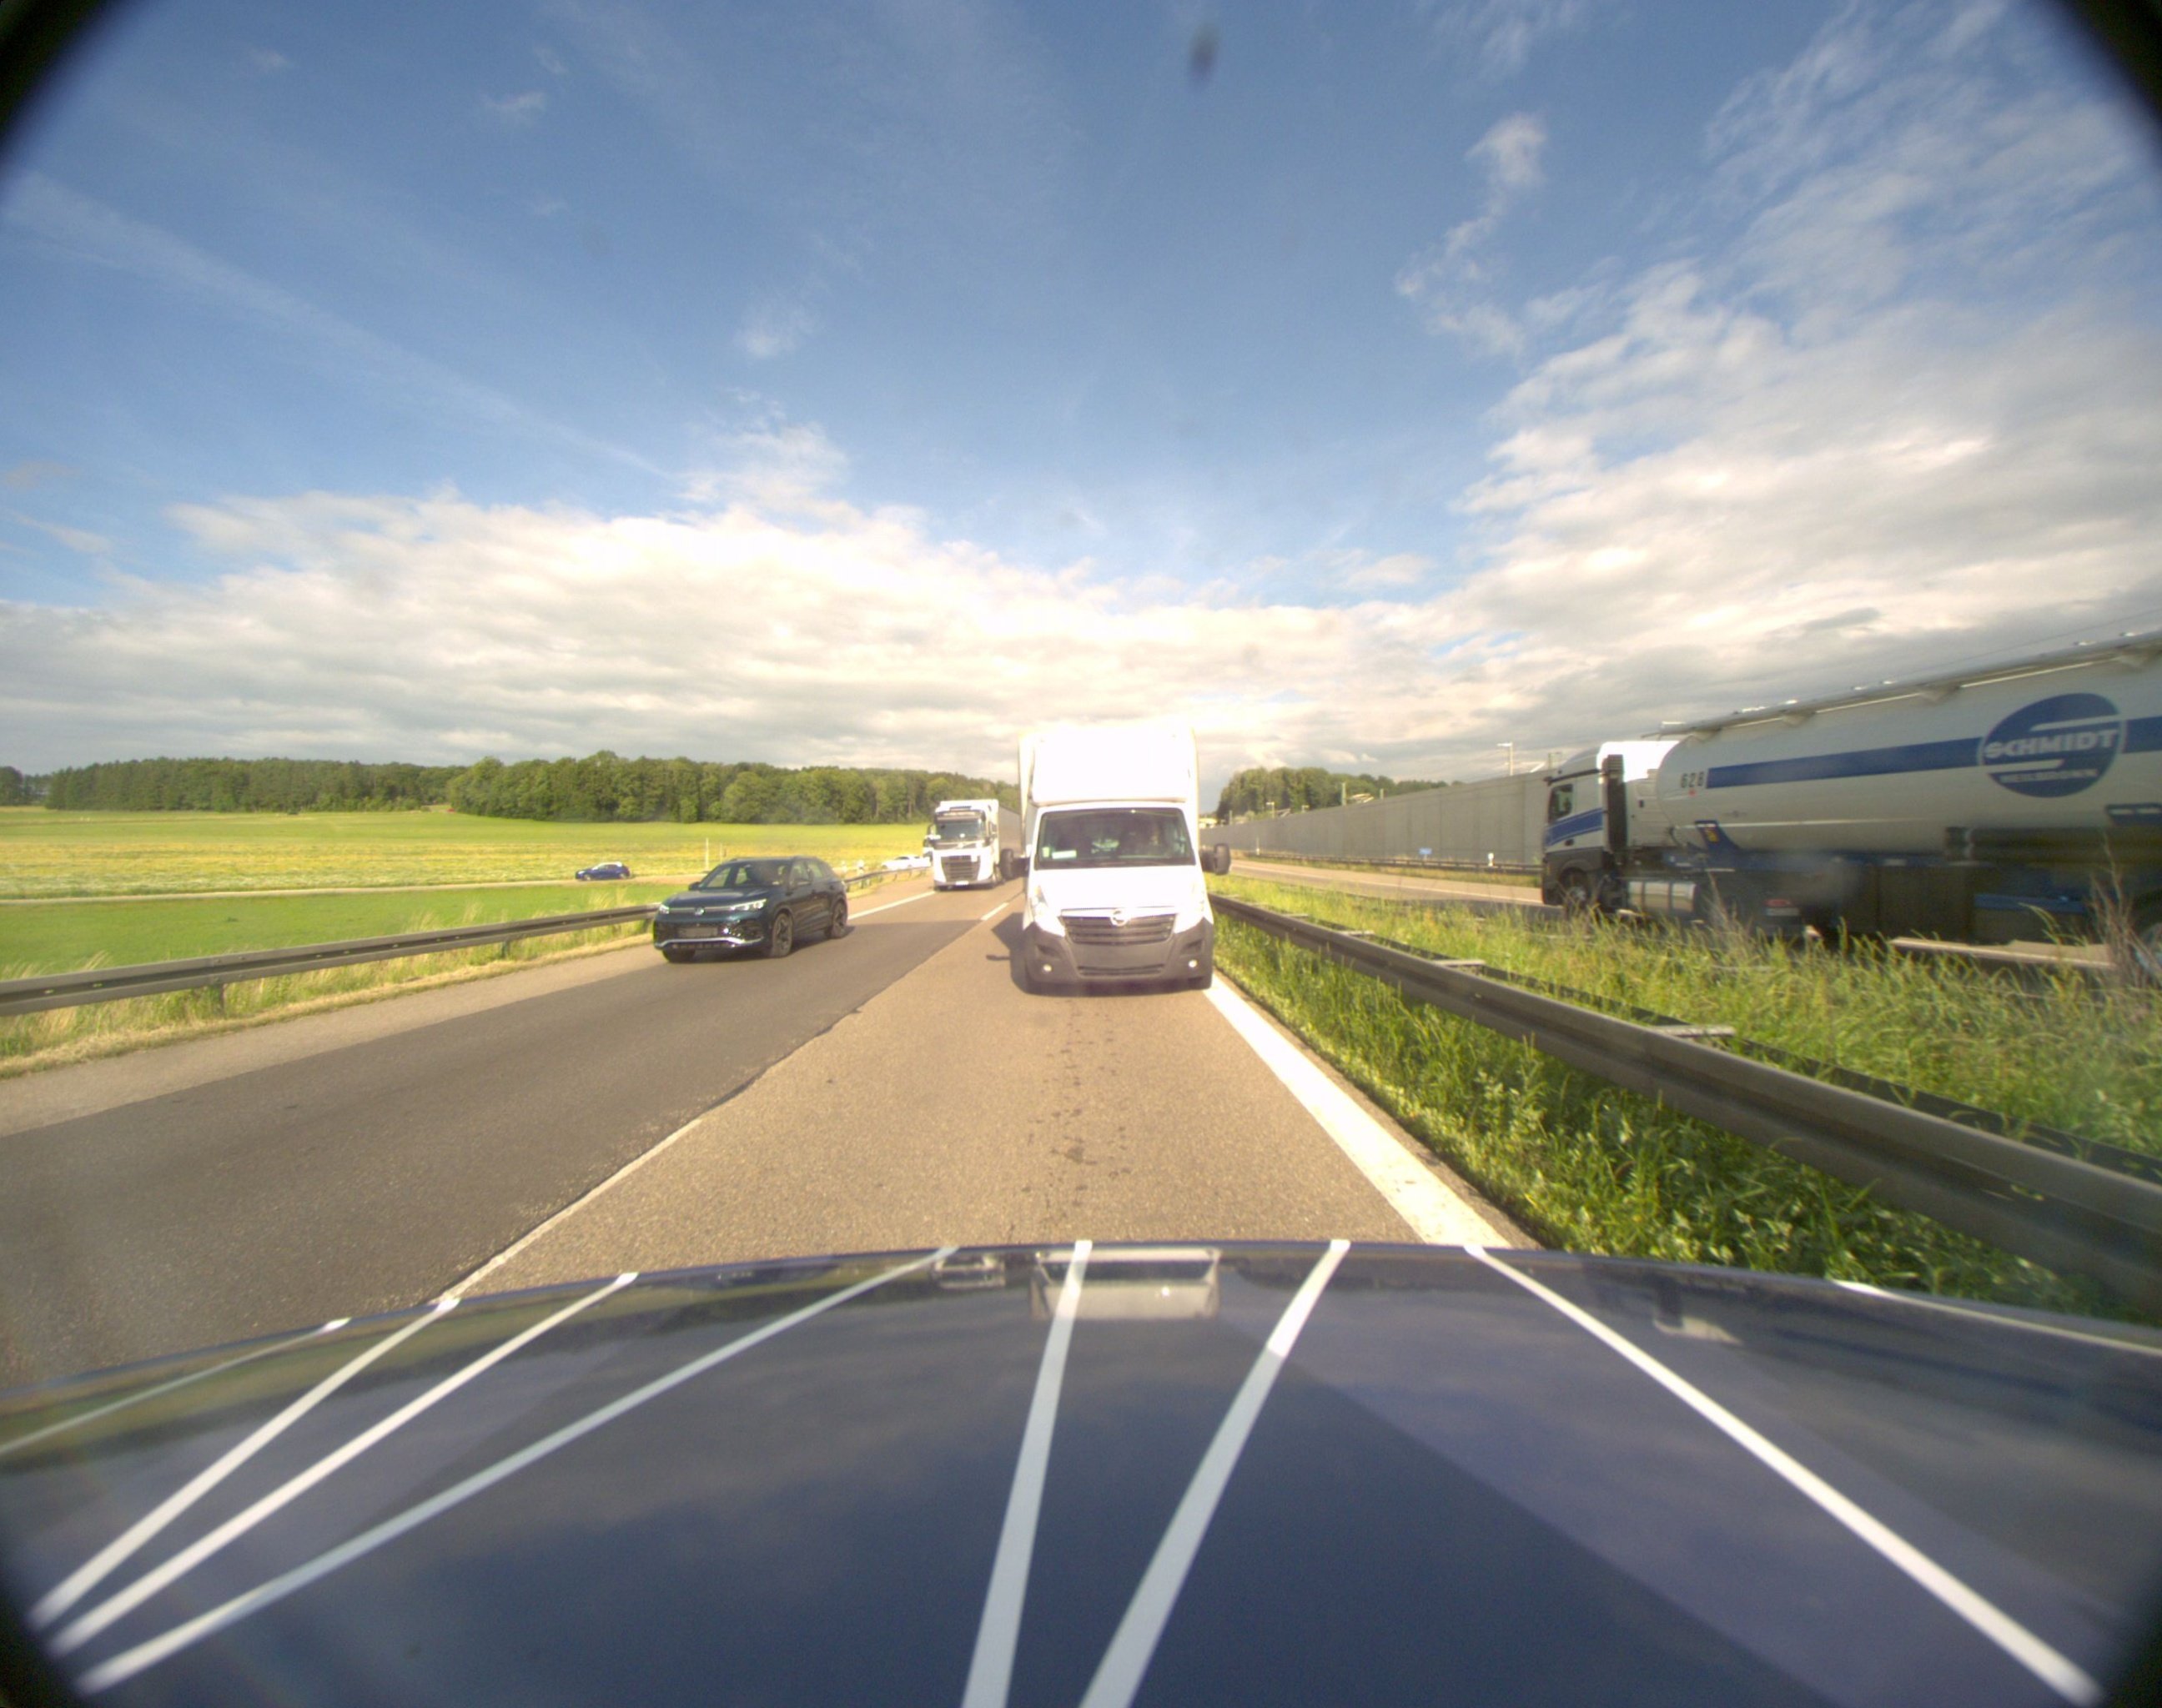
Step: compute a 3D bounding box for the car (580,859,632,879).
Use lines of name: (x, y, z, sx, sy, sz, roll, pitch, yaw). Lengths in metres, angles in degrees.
car: (-40.201, 1.262, 64.350, 3.567, 1.521, 1.720, -3, 1, -38)

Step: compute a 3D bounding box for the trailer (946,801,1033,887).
trailer: (-4.697, -0.576, 41.891, 2.826, 3.959, 12.127, -2, 1, 2)

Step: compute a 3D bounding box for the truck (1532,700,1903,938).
truck: (11.706, -0.586, 14.773, 2.559, 3.776, 5.415, 0, 1, -1)

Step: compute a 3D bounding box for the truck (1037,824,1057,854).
truck: (-4.278, -1.900, 96.156, 1.998, 3.663, 5.931, -2, 1, 1)

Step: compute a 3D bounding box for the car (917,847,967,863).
car: (-15.440, 0.122, 84.679, 5.130, 1.548, 1.994, -3, 1, -41)

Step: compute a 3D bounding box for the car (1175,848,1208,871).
car: (8.181, 0.374, 56.405, 1.807, 1.508, 4.690, -2, 1, 1)

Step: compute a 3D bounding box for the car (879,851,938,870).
car: (-15.834, 0.627, 69.689, 5.068, 1.537, 2.003, -2, 1, 27)

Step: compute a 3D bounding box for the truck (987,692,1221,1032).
truck: (0.343, 0.026, 10.954, 2.059, 3.088, 7.803, -2, 1, 2)

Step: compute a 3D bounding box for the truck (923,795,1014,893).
truck: (-4.919, -0.460, 34.640, 2.842, 3.967, 6.501, -2, 1, 2)

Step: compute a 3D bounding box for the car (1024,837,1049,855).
car: (-4.114, -0.758, 71.386, 1.998, 1.647, 3.999, -2, 1, 1)

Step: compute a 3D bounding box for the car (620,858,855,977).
car: (-5.606, 0.933, 13.092, 1.998, 1.587, 4.119, -2, 1, 2)

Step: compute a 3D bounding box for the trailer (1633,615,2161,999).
trailer: (11.810, -0.468, 8.100, 2.547, 3.749, 12.537, 0, 1, -1)

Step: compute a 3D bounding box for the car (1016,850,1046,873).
car: (-3.979, 0.573, 60.640, 1.998, 1.647, 3.999, -2, 1, 1)
